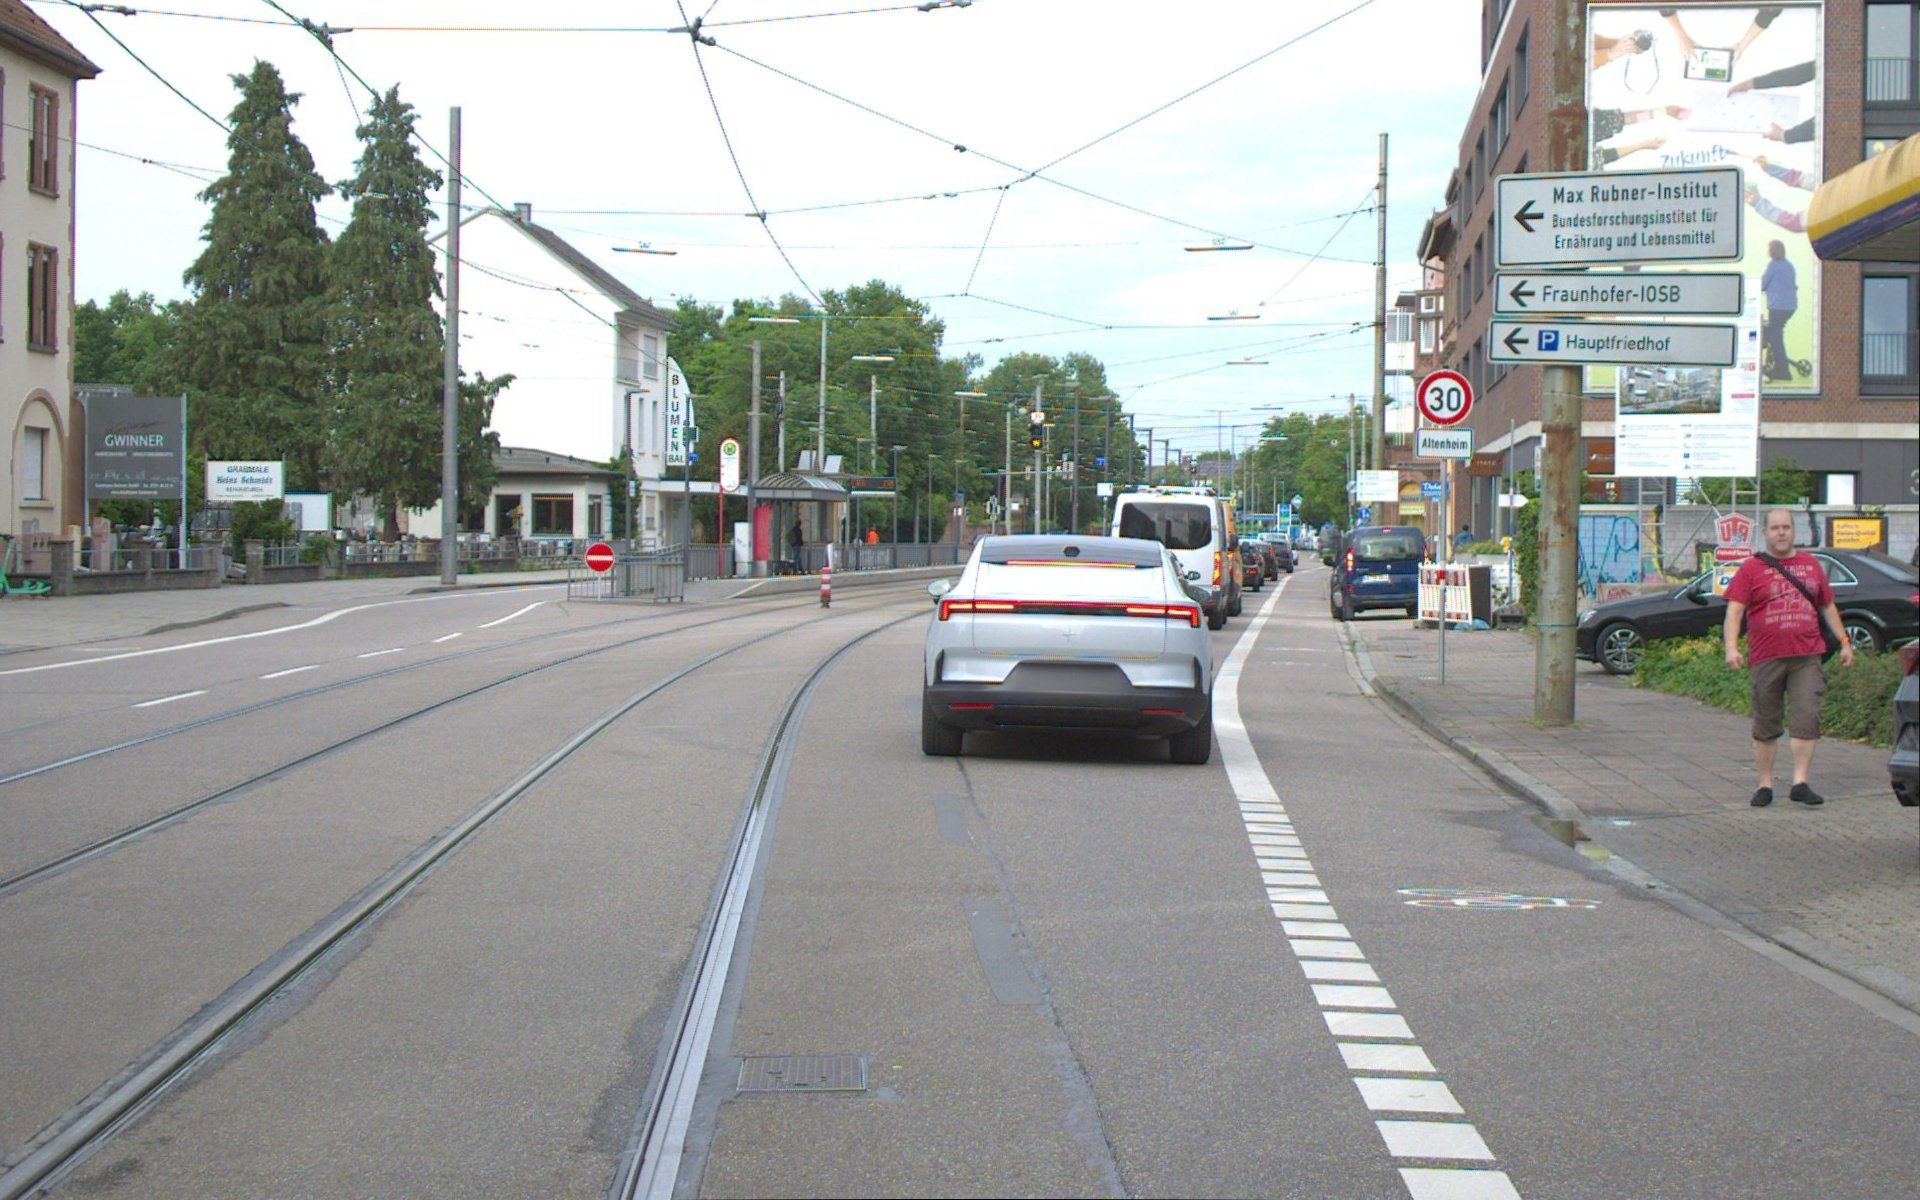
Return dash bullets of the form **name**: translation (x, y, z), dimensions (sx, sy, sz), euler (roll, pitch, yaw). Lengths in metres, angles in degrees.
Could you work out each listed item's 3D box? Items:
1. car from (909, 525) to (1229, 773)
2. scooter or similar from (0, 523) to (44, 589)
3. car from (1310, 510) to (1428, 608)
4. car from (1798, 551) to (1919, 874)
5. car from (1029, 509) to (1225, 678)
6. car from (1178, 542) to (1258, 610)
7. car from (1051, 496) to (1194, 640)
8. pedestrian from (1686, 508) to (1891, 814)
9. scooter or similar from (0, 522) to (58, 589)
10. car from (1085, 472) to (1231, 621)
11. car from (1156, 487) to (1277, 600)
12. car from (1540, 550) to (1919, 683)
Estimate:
- **car**: translation (0.681, 0.275, 24.489), dimensions (1.981, 1.544, 4.184), euler (2, 1, -2)
- **scooter or similar**: translation (-17.420, -0.815, 63.189), dimensions (1.049, 1.184, 0.318), euler (2, 1, -33)
- **car**: translation (8.089, -0.816, 68.307), dimensions (1.874, 1.817, 4.096), euler (2, 1, 1)
- **car**: translation (6.468, 0.501, 16.625), dimensions (4.310, 1.492, 1.997), euler (-1, 1, -20)
- **car**: translation (1.839, -0.086, 38.967), dimensions (1.968, 1.750, 3.838), euler (2, 1, 0)
- **car**: translation (7.967, -0.750, 106.337), dimensions (1.993, 2.007, 4.000), euler (2, 1, -2)
- **car**: translation (2.416, -0.484, 51.659), dimensions (1.993, 2.007, 4.000), euler (2, 1, 2)
- **pedestrian**: translation (4.847, 0.347, 20.168), dimensions (0.972, 1.732, 0.861), euler (-1, 0, 2)
- **scooter or similar**: translation (-17.037, -0.807, 62.724), dimensions (1.049, 1.184, 0.318), euler (2, 1, -33)
- **car**: translation (3.398, -0.920, 59.968), dimensions (2.216, 2.415, 4.951), euler (2, 1, 1)
- **car**: translation (5.150, -1.125, 69.467), dimensions (2.139, 2.138, 4.743), euler (2, 1, 2)
- **car**: translation (9.520, 0.155, 40.680), dimensions (4.880, 1.422, 1.949), euler (1, 2, 37)
